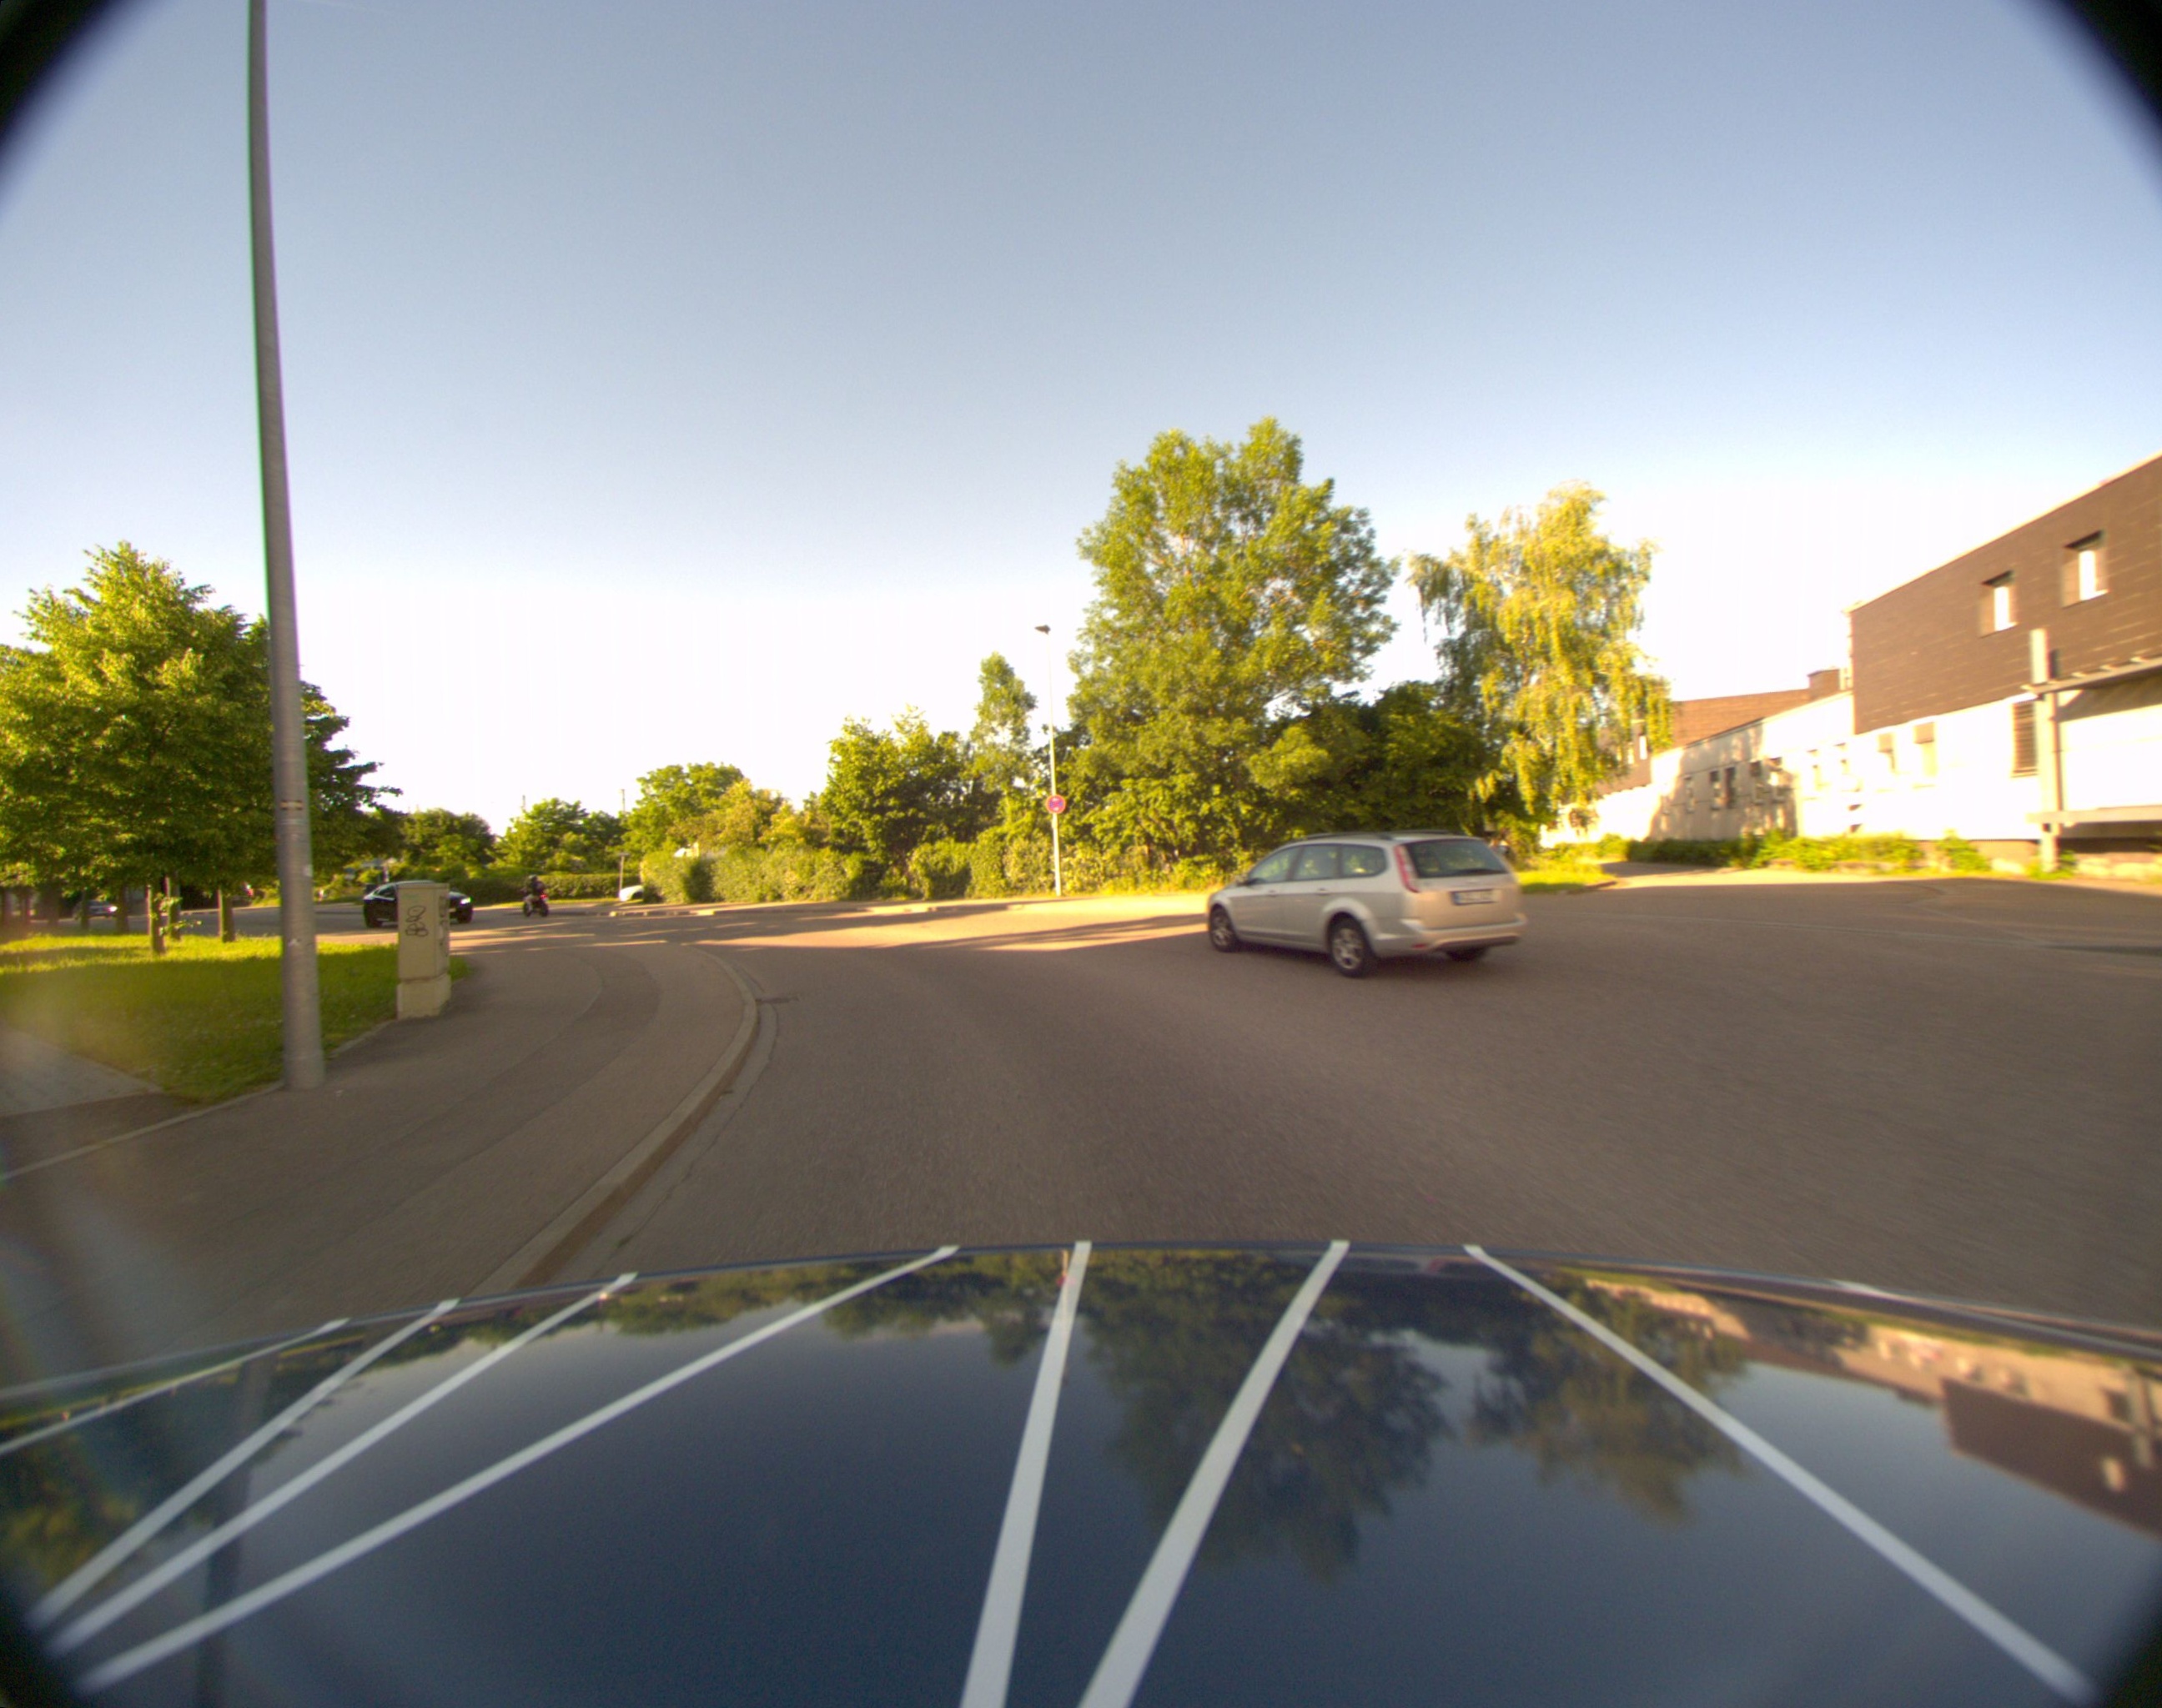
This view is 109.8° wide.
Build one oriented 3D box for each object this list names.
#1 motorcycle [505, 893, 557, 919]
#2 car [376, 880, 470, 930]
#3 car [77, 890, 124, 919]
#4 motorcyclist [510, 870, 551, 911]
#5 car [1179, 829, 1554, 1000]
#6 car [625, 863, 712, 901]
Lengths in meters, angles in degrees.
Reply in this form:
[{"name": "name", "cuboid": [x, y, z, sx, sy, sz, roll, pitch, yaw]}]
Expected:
[{"name": "motorcycle", "cuboid": [-22.649, 2.135, 31.283, 2.294, 0.966, 0.837, -2, 1, 30]}, {"name": "car", "cuboid": [-24.993, 1.862, 28.812, 4.601, 1.623, 2.042, -2, 1, 42]}, {"name": "car", "cuboid": [-74.064, 3.812, 57.390, 3.989, 2.002, 2.004, -2, 1, 37]}, {"name": "motorcyclist", "cuboid": [-22.657, 1.495, 31.257, 1.239, 1.602, 0.868, -2, 1, 30]}, {"name": "car", "cuboid": [3.057, 0.564, 9.307, 1.746, 1.496, 4.494, -3, 0, -20]}, {"name": "car", "cuboid": [-22.557, 1.513, 41.651, 4.005, 1.773, 1.995, -3, 1, -29]}]
